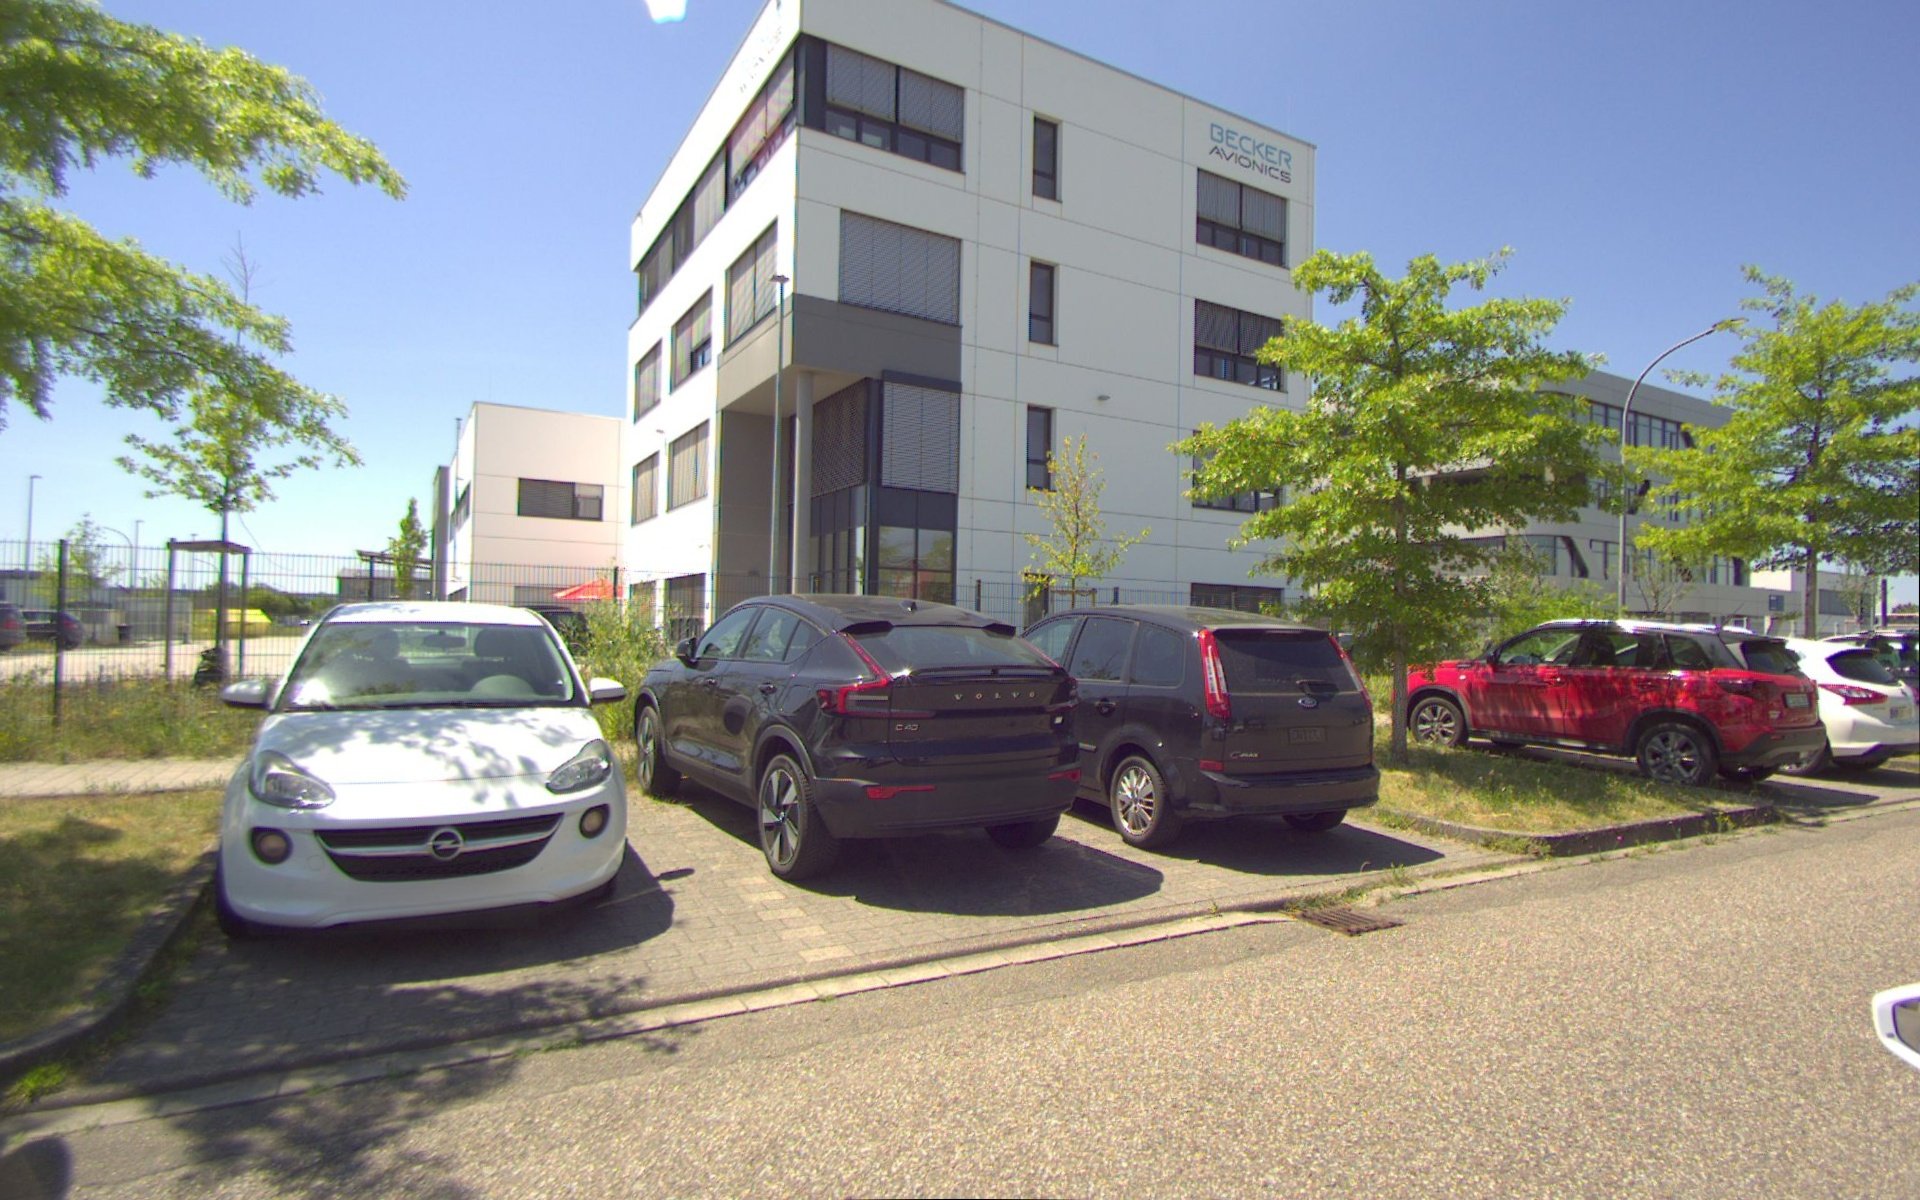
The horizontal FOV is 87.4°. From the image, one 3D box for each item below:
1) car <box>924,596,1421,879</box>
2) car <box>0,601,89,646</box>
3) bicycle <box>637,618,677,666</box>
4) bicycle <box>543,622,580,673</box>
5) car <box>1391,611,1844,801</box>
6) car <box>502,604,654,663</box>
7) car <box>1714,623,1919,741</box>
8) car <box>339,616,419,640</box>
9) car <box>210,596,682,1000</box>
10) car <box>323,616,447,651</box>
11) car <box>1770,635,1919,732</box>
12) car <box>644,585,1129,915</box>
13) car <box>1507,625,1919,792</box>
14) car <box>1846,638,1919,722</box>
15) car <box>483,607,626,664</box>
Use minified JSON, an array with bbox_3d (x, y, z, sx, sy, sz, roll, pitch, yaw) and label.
[{"bbox_3d":[1.376,0.817,7.978,1.707,1.613,3.889,2,0,-29],"label":"car"},{"bbox_3d":[-34.031,0.813,35.692,4.352,1.534,1.686,2,-2,-30],"label":"car"},{"bbox_3d":[-6.504,0.881,21.513,0.456,0.995,1.584,2,-2,-30],"label":"bicycle"},{"bbox_3d":[-8.194,0.961,20.628,0.456,0.995,1.584,2,-2,-30],"label":"bicycle"},{"bbox_3d":[7.000,0.990,11.109,1.708,1.613,3.819,2,0,-31],"label":"car"},{"bbox_3d":[-11.217,0.993,29.551,3.954,1.623,1.767,2,-2,-31],"label":"car"},{"bbox_3d":[14.687,1.277,15.849,1.707,1.656,4.098,2,0,-29],"label":"car"},{"bbox_3d":[-35.233,1.696,60.964,4.116,1.357,1.767,2,-2,-31],"label":"car"},{"bbox_3d":[-2.869,0.753,5.678,1.707,1.460,3.488,2,0,-29],"label":"car"},{"bbox_3d":[-23.557,1.380,41.271,4.288,1.357,1.767,2,-2,-31],"label":"car"},{"bbox_3d":[16.596,1.448,16.897,1.708,1.493,4.289,2,0,-31],"label":"car"},{"bbox_3d":[-0.792,0.737,7.044,1.809,1.614,3.817,2,0,-32],"label":"car"},{"bbox_3d":[9.328,1.166,12.493,1.784,1.533,4.156,1,1,-27],"label":"car"},{"bbox_3d":[18.917,1.526,17.641,1.837,1.466,4.687,2,0,-32],"label":"car"},{"bbox_3d":[-12.776,1.131,31.714,3.954,1.706,1.767,2,-2,-31],"label":"car"}]
